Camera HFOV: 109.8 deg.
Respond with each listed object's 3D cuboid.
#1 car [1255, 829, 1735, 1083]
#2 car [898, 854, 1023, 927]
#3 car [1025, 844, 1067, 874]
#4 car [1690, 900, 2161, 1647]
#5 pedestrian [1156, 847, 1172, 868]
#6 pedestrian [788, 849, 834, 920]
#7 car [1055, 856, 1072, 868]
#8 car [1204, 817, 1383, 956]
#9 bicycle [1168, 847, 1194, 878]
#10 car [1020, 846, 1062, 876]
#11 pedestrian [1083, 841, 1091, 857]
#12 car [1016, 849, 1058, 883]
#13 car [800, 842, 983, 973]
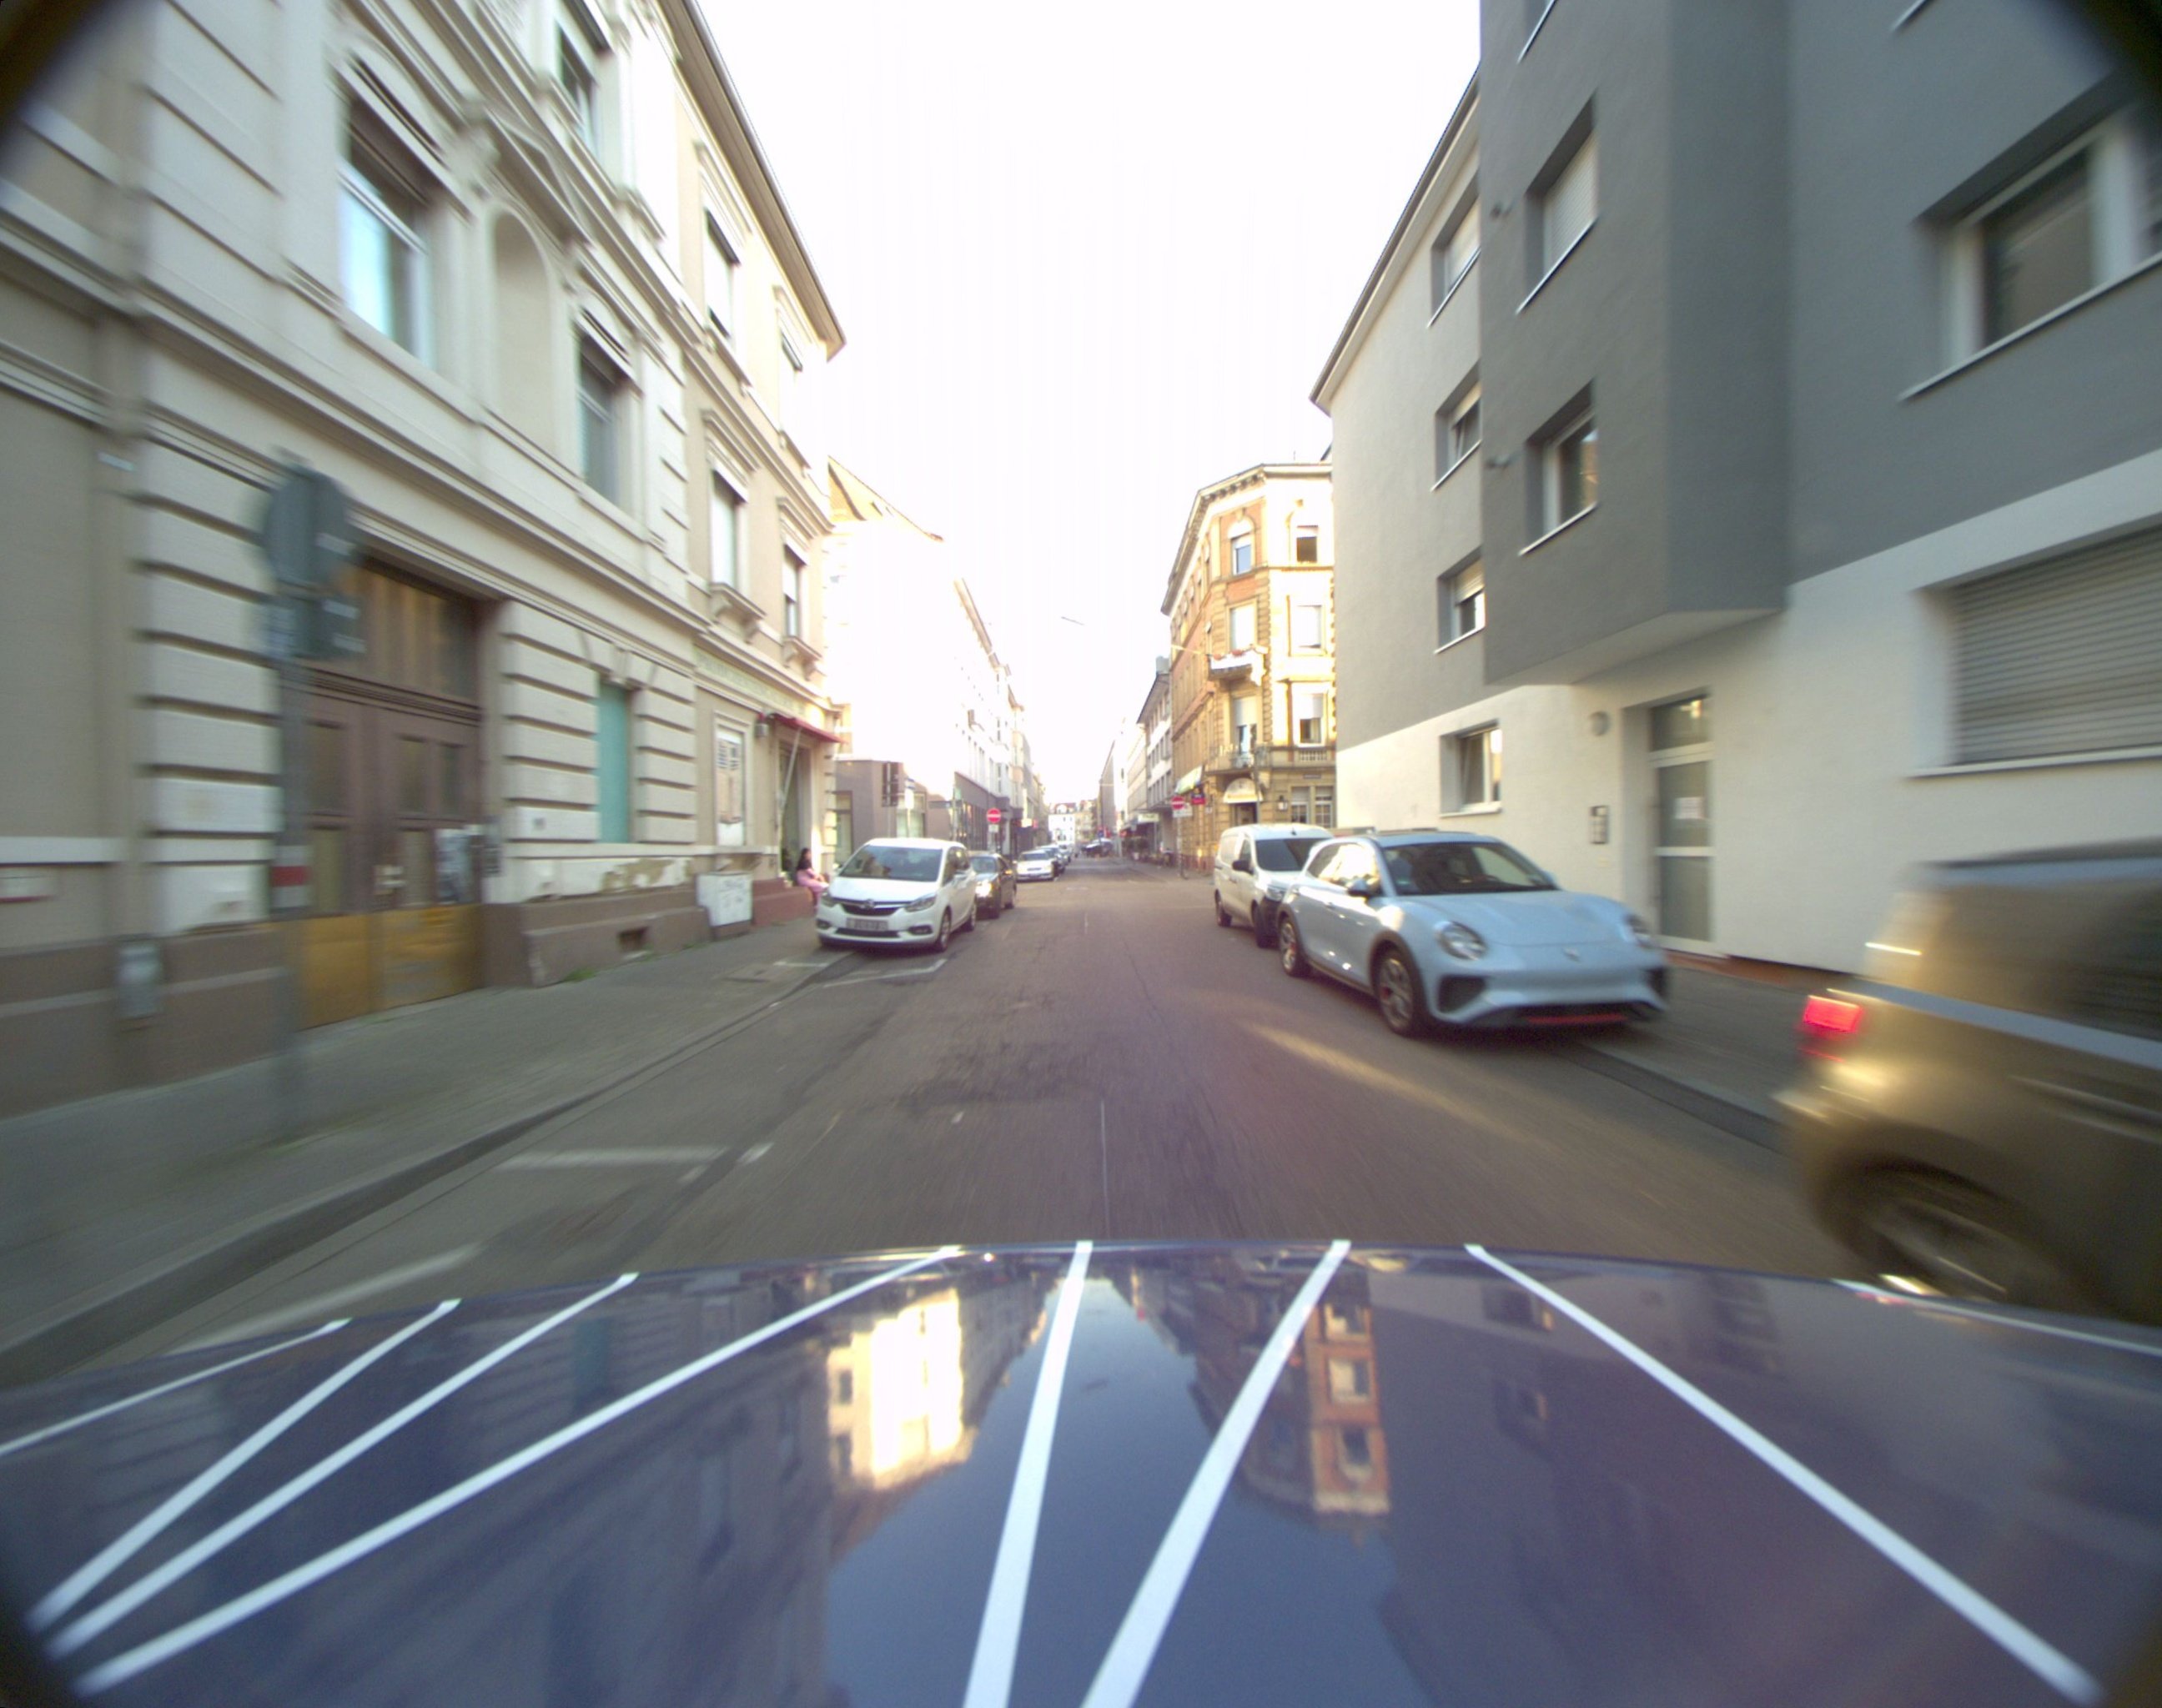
[{"bbox_3d":[3.135,0.648,6.969,1.768,1.554,4.365,-1,0,-4],"label":"car"},{"bbox_3d":[-2.605,0.730,17.650,1.888,1.400,4.730,-1,0,3],"label":"car"},{"bbox_3d":[-2.073,0.274,46.665,2.335,1.734,4.487,-1,0,0],"label":"car"},{"bbox_3d":[2.930,0.886,0.539,1.688,1.324,4.130,-1,2,0],"label":"car"},{"bbox_3d":[5.371,0.229,49.374,0.836,1.332,0.806,-1,1,20],"label":"pedestrian"},{"bbox_3d":[-5.712,0.634,16.102,0.716,1.463,0.580,-1,1,0],"label":"pedestrian"},{"bbox_3d":[-1.683,0.794,73.025,1.514,1.053,3.466,-1,0,0],"label":"car"},{"bbox_3d":[3.159,0.420,12.166,1.635,1.803,4.184,-1,0,-1],"label":"car"},{"bbox_3d":[4.304,0.361,32.834,0.660,1.268,1.762,-5,1,-4],"label":"bicycle"},{"bbox_3d":[-2.108,0.335,40.920,2.013,1.516,4.117,-1,0,0],"label":"car"},{"bbox_3d":[0.938,-0.801,119.226,1.247,2.599,1.467,-1,1,-1],"label":"pedestrian"},{"bbox_3d":[-1.984,0.517,35.359,1.755,1.394,4.487,-3,0,-2],"label":"car"},{"bbox_3d":[-2.807,0.700,12.316,1.821,1.713,4.461,1,0,0],"label":"car"}]
